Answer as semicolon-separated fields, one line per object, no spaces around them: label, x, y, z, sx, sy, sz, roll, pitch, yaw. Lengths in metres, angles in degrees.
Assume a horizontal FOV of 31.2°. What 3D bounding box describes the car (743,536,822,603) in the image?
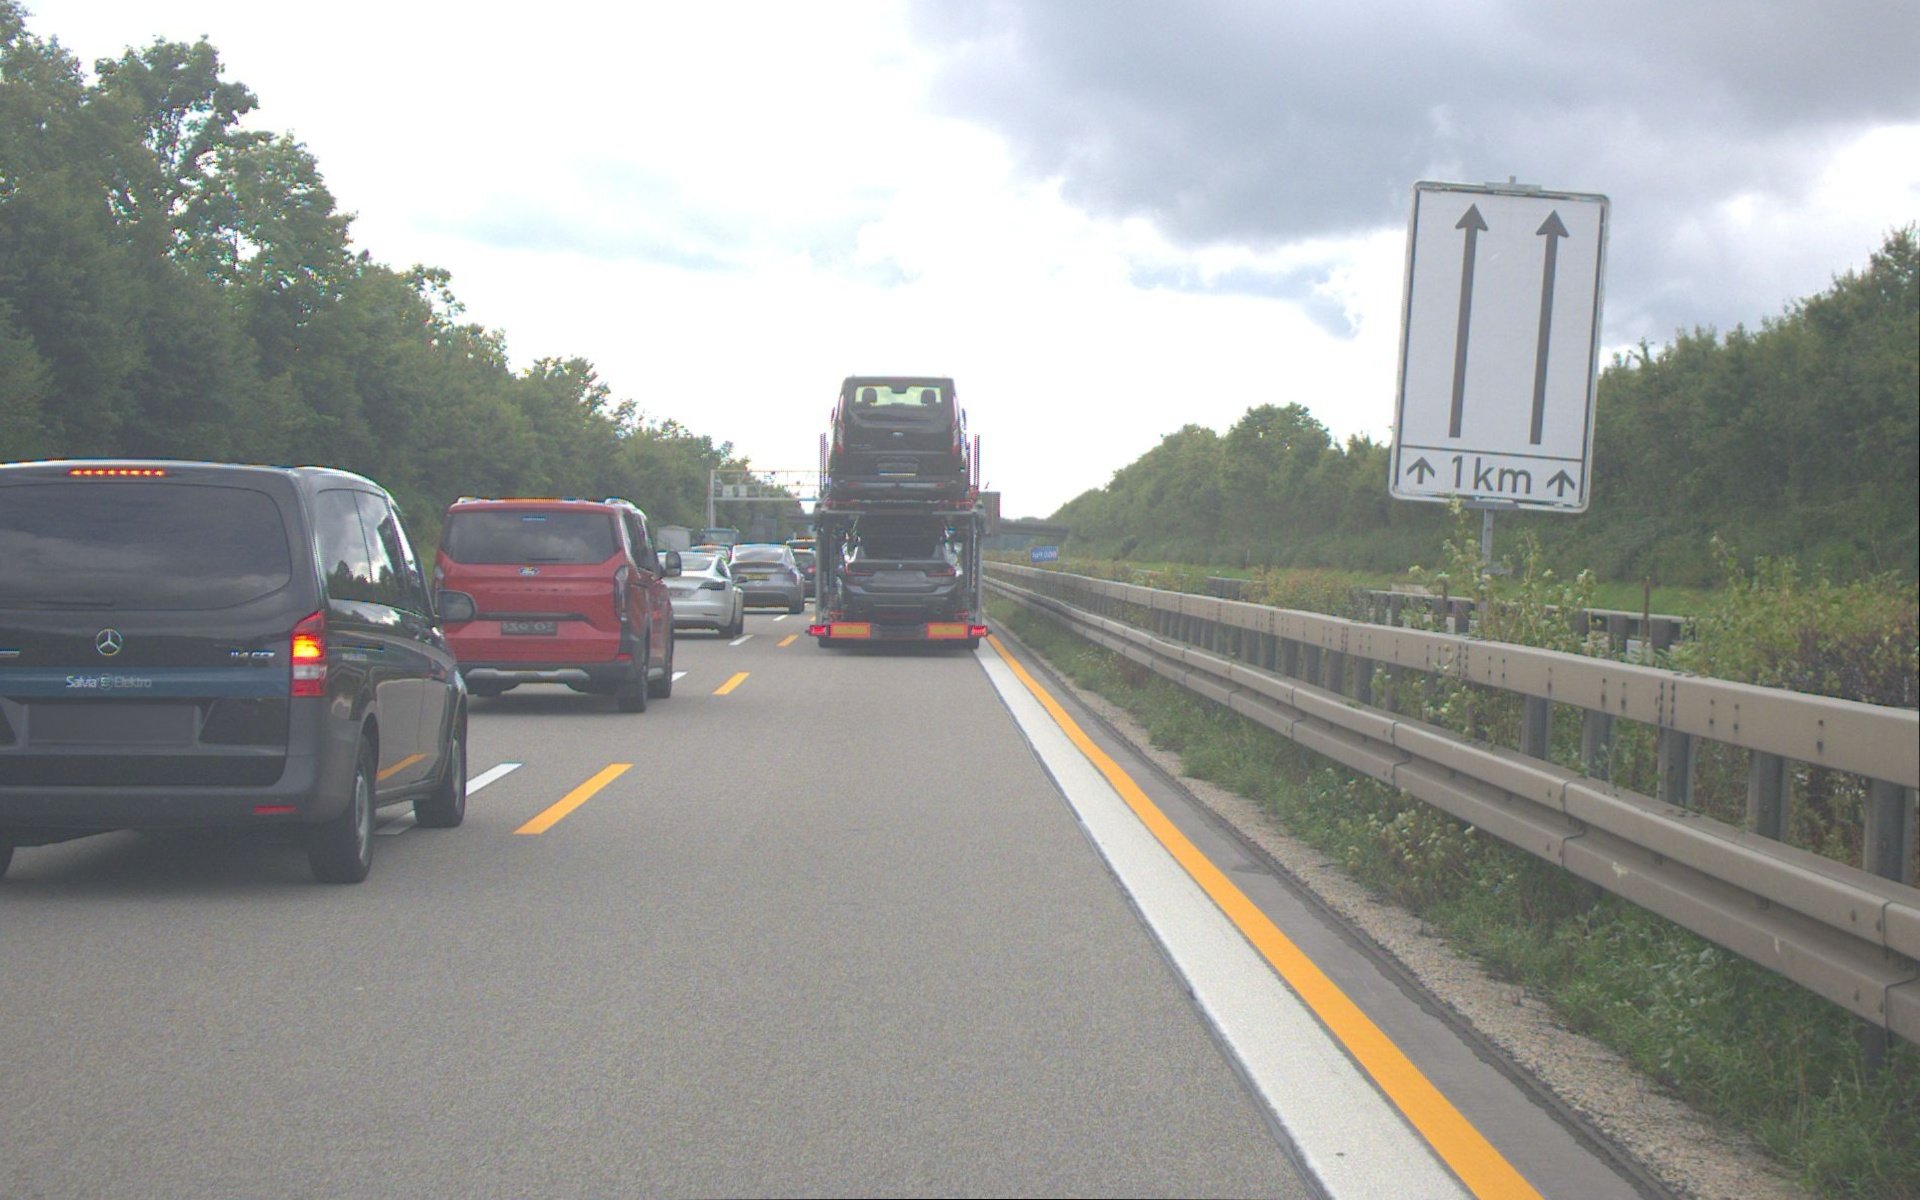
car;-4.781;-0.837;93.269;2.031;1.751;4.578;0;1;-2

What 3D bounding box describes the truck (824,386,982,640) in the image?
truck;-0.945;-1.454;58.740;2.515;4.091;5.685;1;1;0

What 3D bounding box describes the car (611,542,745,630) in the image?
car;-4.782;-0.267;58.847;2.031;1.426;4.578;0;1;-2

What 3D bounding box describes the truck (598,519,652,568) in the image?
truck;-19.262;-3.259;198.036;2.490;2.708;6.667;1;1;-1

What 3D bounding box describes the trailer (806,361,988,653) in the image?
trailer;-0.921;-1.389;54.025;2.515;4.091;11.114;1;1;0

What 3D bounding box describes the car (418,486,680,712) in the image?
car;-3.854;-0.046;32.966;2.031;2.007;4.578;0;1;-1

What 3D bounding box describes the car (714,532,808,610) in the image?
car;-4.614;-0.691;80.187;2.031;1.751;4.578;0;1;-2

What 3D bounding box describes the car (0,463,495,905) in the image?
car;-3.645;0.307;17.076;1.993;1.837;5.610;0;1;-1
